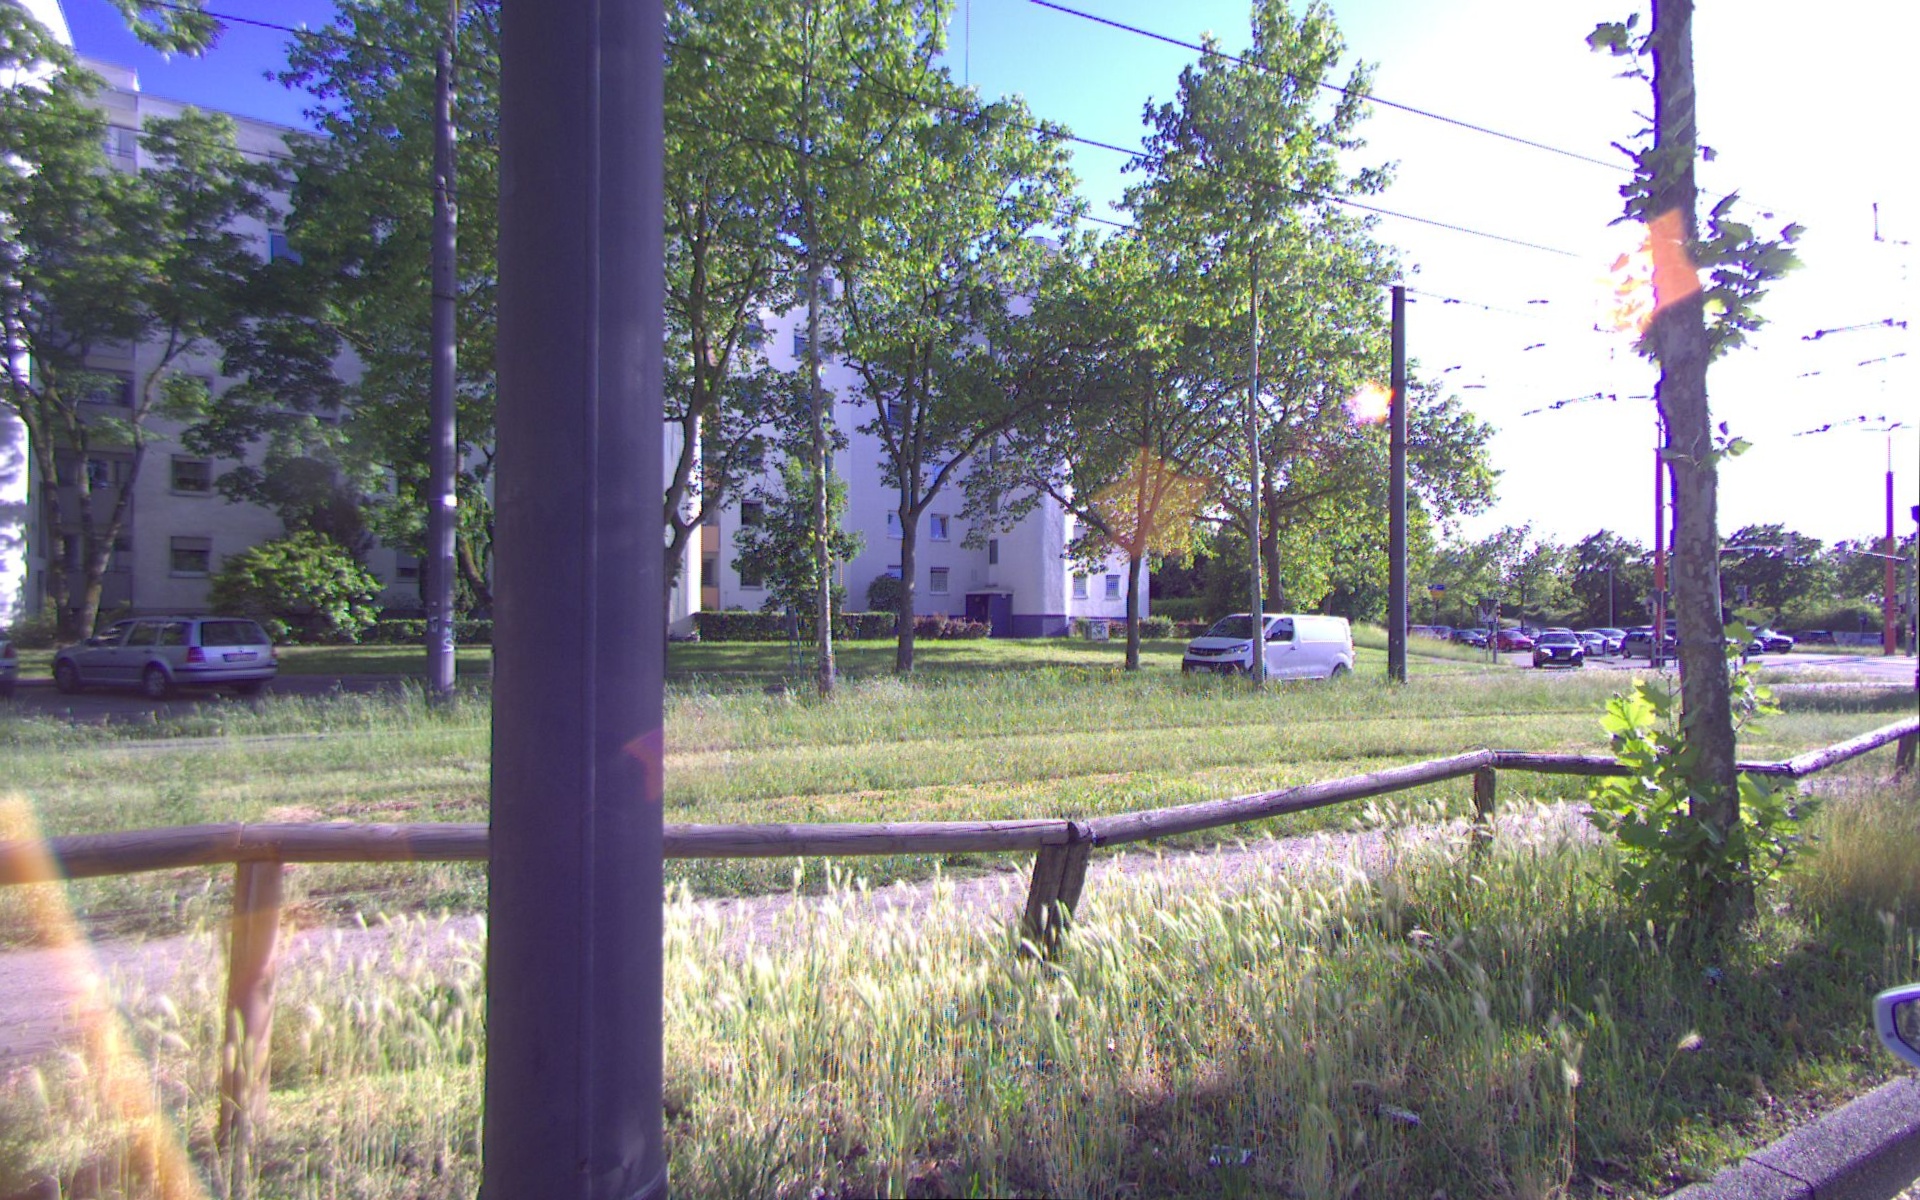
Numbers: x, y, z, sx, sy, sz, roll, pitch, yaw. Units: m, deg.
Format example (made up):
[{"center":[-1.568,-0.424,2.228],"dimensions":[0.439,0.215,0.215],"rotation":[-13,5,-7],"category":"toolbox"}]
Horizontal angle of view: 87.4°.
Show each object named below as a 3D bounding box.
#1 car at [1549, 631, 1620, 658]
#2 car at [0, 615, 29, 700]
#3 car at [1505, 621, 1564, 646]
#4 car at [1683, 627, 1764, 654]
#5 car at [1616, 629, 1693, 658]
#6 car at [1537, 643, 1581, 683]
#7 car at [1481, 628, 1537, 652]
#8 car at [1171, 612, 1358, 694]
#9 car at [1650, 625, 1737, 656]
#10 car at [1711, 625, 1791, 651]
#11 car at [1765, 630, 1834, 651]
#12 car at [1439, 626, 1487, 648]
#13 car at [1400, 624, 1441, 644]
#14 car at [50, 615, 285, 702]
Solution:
[{"center":[38.921,2.754,62.741],"dimensions":[1.624,1.540,4.638],"rotation":[1,-1,1],"category":"car"},{"center":[-17.981,0.945,17.159],"dimensions":[3.567,1.421,1.581],"rotation":[1,0,20],"category":"car"},{"center":[42.271,2.430,74.075],"dimensions":[1.721,1.669,4.644],"rotation":[1,-1,1],"category":"car"},{"center":[45.577,2.392,60.068],"dimensions":[1.513,1.434,4.154],"rotation":[1,-1,-3],"category":"car"},{"center":[38.968,2.406,56.453],"dimensions":[1.624,1.460,3.841],"rotation":[1,-1,-2],"category":"car"},{"center":[28.063,2.887,46.987],"dimensions":[1.628,1.640,4.283],"rotation":[1,-1,32],"category":"car"},{"center":[38.450,2.775,70.456],"dimensions":[1.624,1.540,4.200],"rotation":[1,-1,1],"category":"car"},{"center":[7.549,1.243,24.707],"dimensions":[4.853,1.845,1.815],"rotation":[1,-1,-35],"category":"car"},{"center":[42.329,2.307,58.110],"dimensions":[1.624,1.669,4.644],"rotation":[1,-1,1],"category":"car"},{"center":[48.655,2.321,61.901],"dimensions":[1.513,1.434,4.154],"rotation":[1,-1,-3],"category":"car"},{"center":[63.489,3.053,76.039],"dimensions":[1.625,1.421,4.130],"rotation":[1,-1,-4],"category":"car"},{"center":[38.663,2.815,77.259],"dimensions":[1.624,1.540,4.200],"rotation":[1,-1,1],"category":"car"},{"center":[38.645,2.814,84.398],"dimensions":[1.624,1.540,4.200],"rotation":[1,-1,1],"category":"car"},{"center":[-14.532,1.008,18.433],"dimensions":[3.830,1.421,1.581],"rotation":[1,0,20],"category":"car"}]
